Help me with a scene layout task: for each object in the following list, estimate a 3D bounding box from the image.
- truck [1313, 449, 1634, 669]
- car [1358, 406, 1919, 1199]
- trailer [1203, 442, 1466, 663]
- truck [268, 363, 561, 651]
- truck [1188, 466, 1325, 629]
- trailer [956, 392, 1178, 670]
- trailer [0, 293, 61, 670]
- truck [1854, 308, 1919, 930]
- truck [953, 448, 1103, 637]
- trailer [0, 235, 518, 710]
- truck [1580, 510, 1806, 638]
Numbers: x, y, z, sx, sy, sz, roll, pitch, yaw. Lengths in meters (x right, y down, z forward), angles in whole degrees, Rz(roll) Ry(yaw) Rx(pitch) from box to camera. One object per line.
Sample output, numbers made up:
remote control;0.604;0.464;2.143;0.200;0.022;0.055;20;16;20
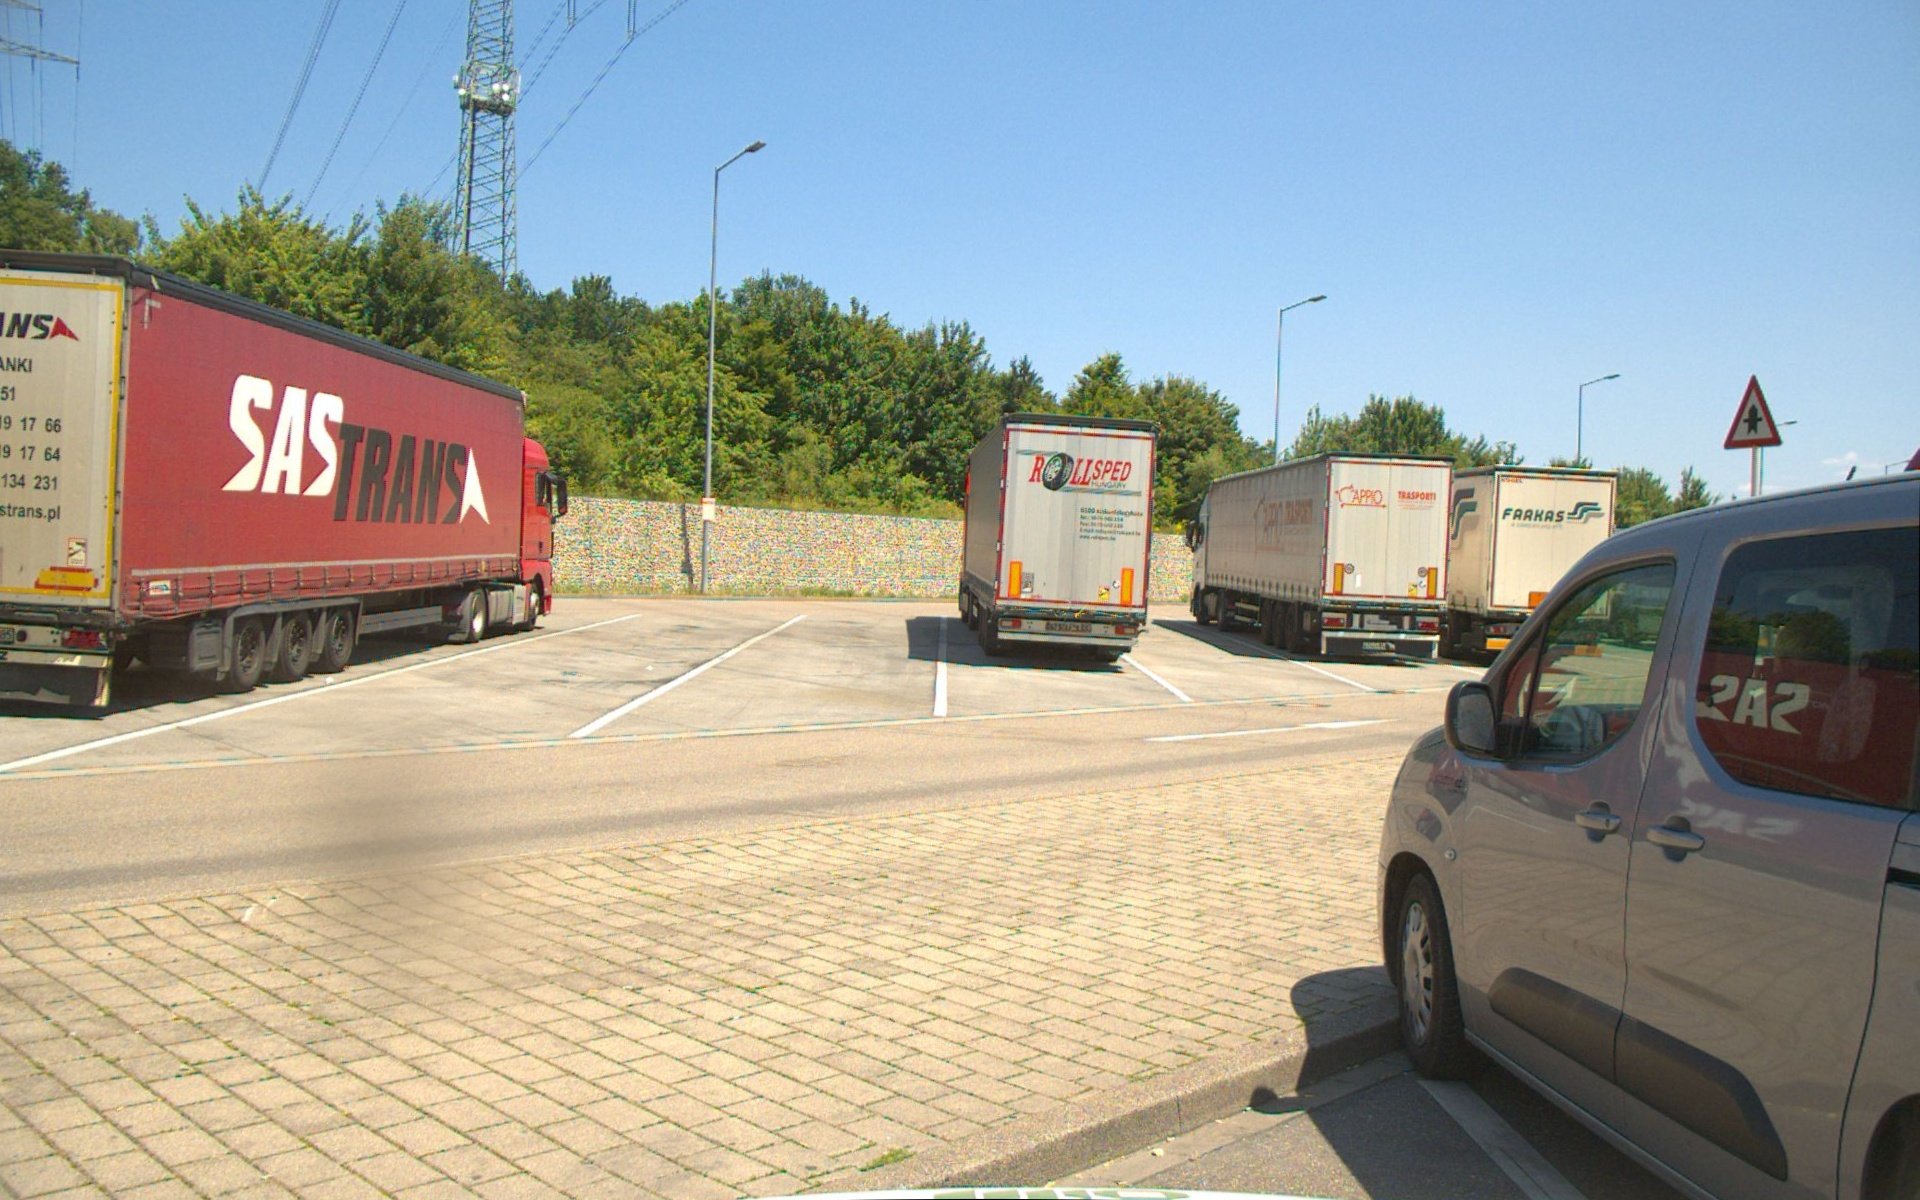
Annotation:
truck;11.710;-0.959;39.992;2.846;4.195;14.525;3;1;-1
car;2.428;0.558;3.814;1.790;1.784;3.997;1;1;-4
trailer;8.198;-1.052;38.608;2.818;4.196;13.569;1;1;-1
truck;-8.781;-1.425;27.536;2.687;4.152;6.828;1;1;-1
truck;8.065;-1.415;45.607;2.701;4.196;5.283;1;1;-1
trailer;1.693;-1.318;32.676;3.008;4.301;12.805;2;2;-2
trailer;-12.414;-1.313;15.445;2.689;4.337;9.733;1;1;0
truck;4.974;0.130;4.935;1.952;2.669;5.305;1;1;3
truck;1.460;-1.383;39.442;2.965;3.997;6.845;2;2;-2
trailer;-8.687;-1.263;21.095;2.694;4.128;13.285;1;1;-1
truck;21.950;-0.810;50.184;2.963;3.497;8.529;1;1;-1
